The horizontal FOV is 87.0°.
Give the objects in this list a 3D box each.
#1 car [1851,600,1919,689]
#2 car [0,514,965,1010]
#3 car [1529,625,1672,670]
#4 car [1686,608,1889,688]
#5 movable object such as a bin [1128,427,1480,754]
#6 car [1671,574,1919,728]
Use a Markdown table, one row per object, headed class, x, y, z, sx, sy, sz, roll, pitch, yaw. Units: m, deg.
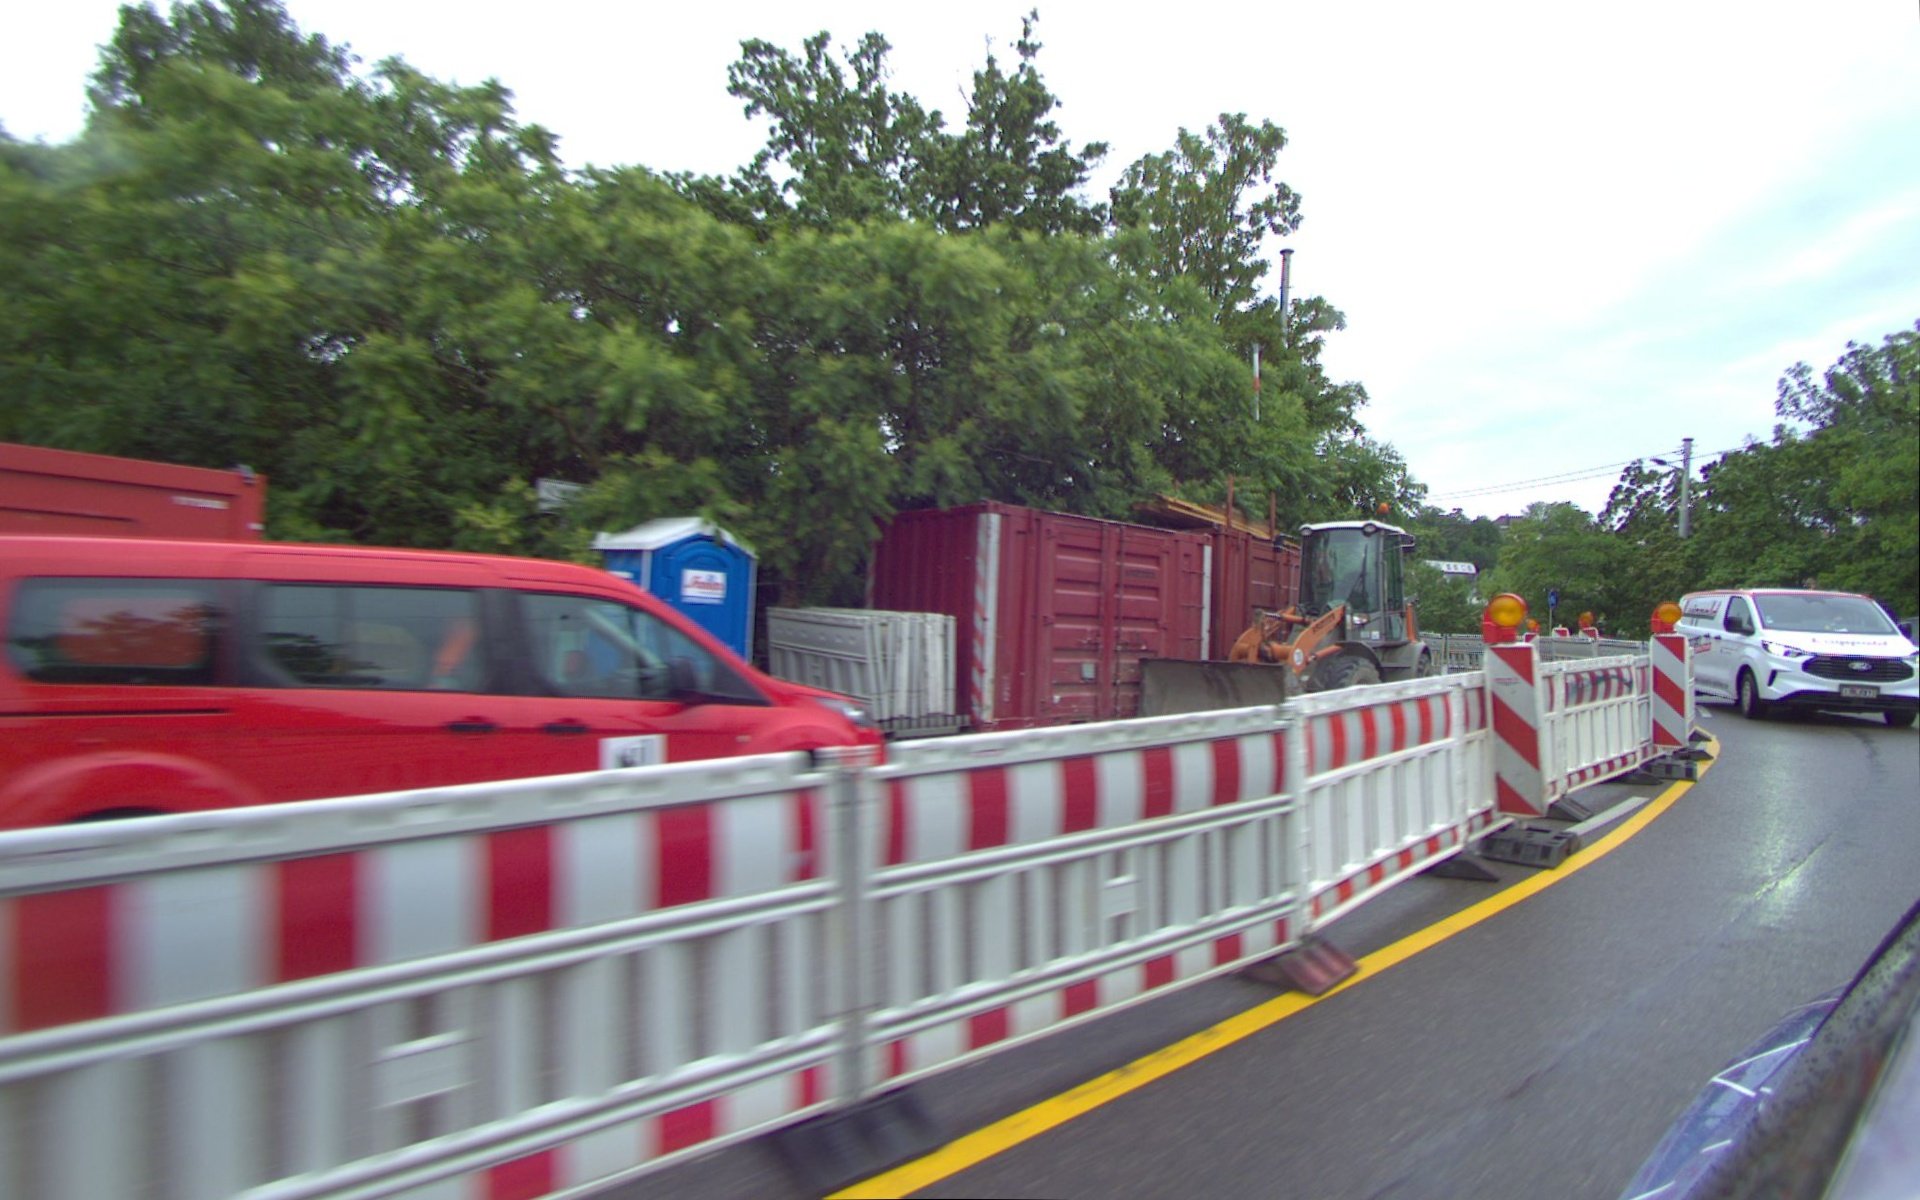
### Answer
| class | x | y | z | sx | sy | sz | roll | pitch | yaw |
| --- | --- | --- | --- | --- | --- | --- | --- | --- | --- |
| car | 23.022 | 1.044 | 23.141 | 1.972 | 2.039 | 4.924 | 1 | -1 | 15 |
| car | -2.518 | 0.604 | 5.697 | 4.905 | 1.802 | 1.999 | 1 | -1 | -38 |
| car | 23.314 | 1.701 | 37.046 | 1.925 | 1.458 | 4.329 | 3 | -2 | -11 |
| car | 23.673 | 1.351 | 29.248 | 1.836 | 2.040 | 4.812 | 2 | -2 | -1 |
| movable object such as a bin | 4.523 | 0.171 | 12.660 | 2.075 | 3.270 | 5.197 | -1 | -7 | 44 |
| car | 13.105 | 0.639 | 15.904 | 1.976 | 2.039 | 4.915 | 0 | 1 | 21 |
